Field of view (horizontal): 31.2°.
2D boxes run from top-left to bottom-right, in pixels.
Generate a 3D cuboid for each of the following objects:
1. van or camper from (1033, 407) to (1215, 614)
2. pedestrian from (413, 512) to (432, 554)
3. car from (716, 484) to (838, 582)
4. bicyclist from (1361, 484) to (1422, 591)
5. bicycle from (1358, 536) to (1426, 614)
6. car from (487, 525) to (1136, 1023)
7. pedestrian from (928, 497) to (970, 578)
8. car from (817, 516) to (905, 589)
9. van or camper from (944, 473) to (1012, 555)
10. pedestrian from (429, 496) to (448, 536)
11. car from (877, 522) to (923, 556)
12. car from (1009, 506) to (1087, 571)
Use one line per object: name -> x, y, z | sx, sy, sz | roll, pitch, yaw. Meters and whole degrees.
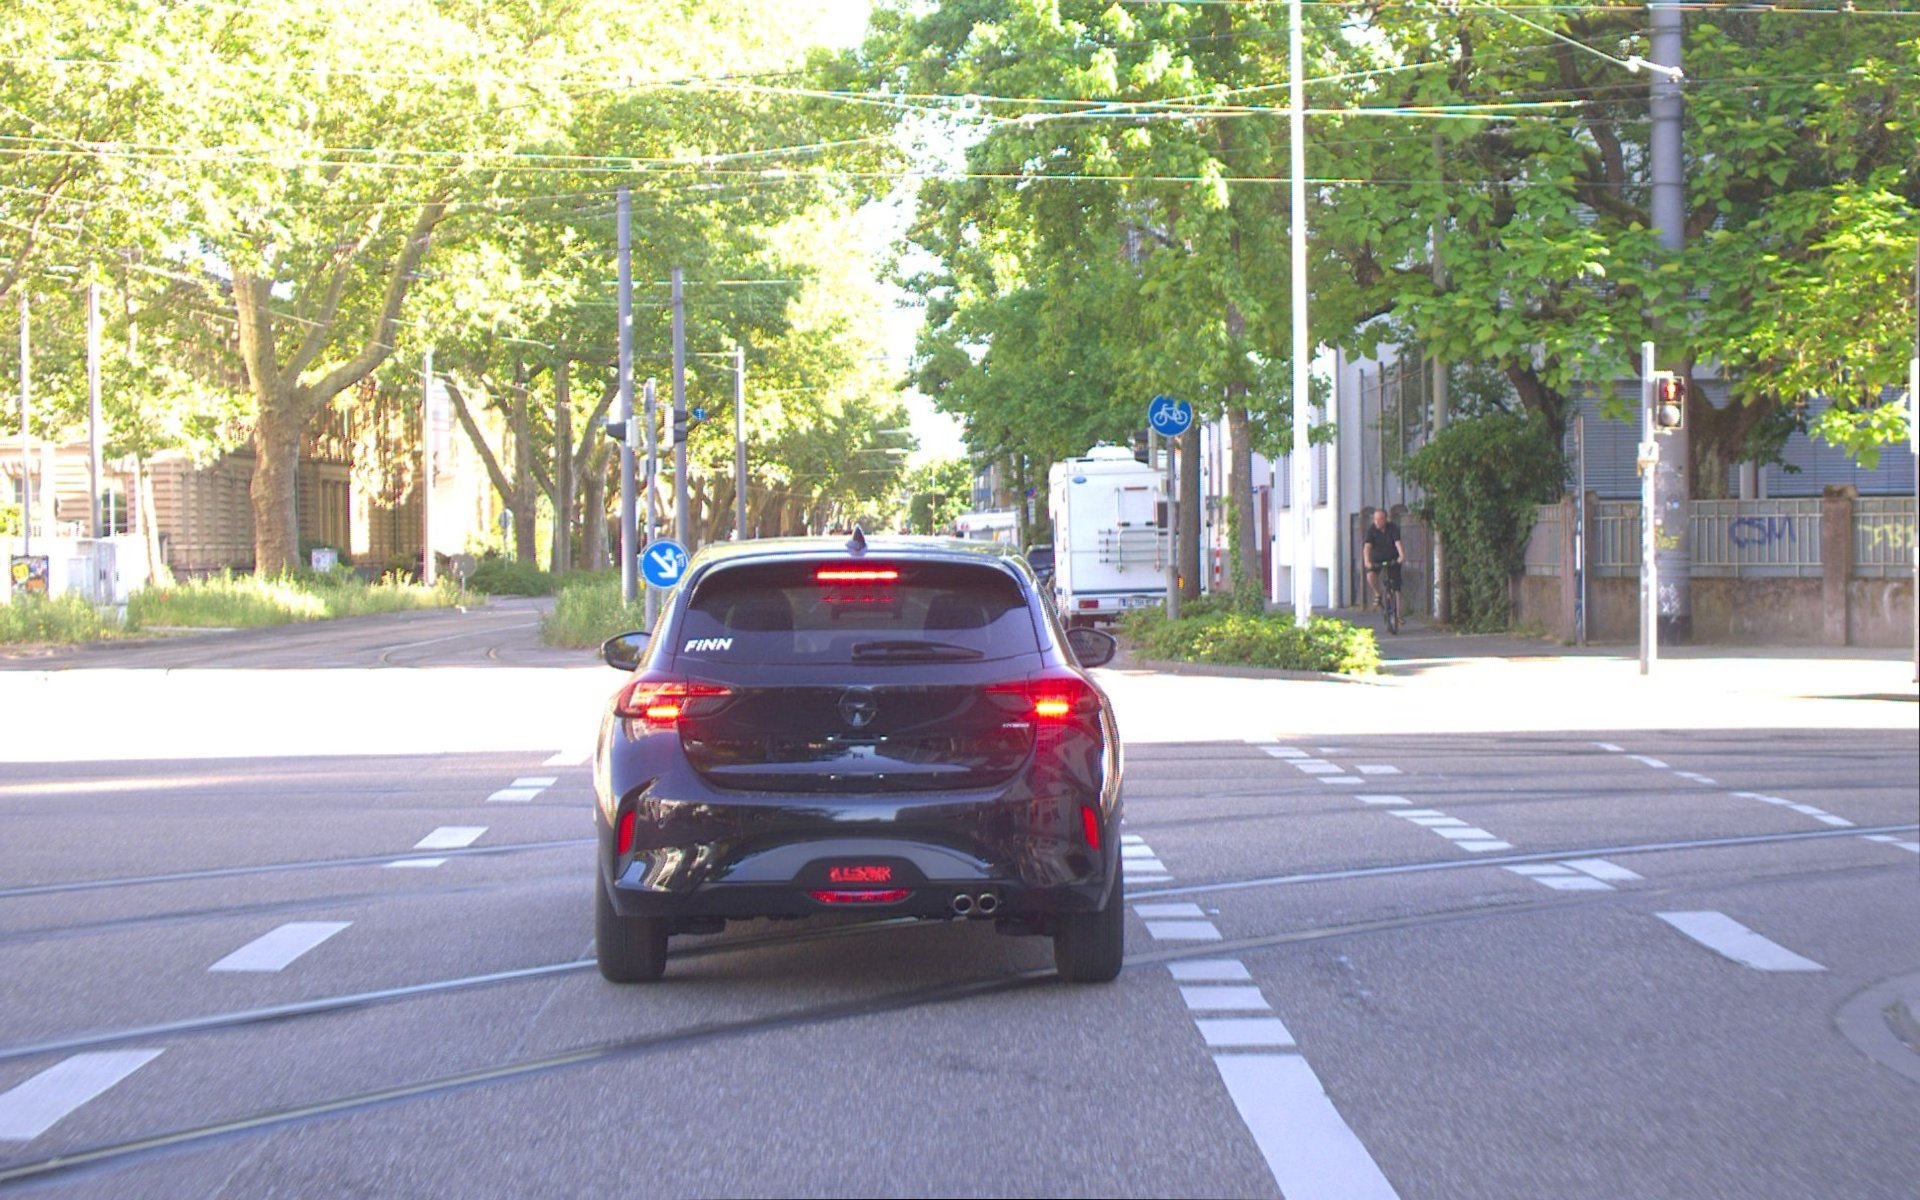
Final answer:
van or camper -> 2.646, -1.514, 57.595 | 2.375, 3.114, 7.552 | -3, 2, -1
pedestrian -> -22.071, -2.751, 141.193 | 0.618, 1.727, 0.596 | 2, 1, -1
car -> -3.258, -1.226, 61.837 | 1.993, 1.622, 4.471 | 2, 2, -1
bicyclist -> 6.145, -0.897, 48.974 | 0.749, 1.504, 0.701 | 0, 2, 17
bicycle -> 6.167, -0.366, 49.024 | 0.640, 1.066, 1.949 | 0, 2, 17
car -> -0.408, 0.467, 12.217 | 1.905, 1.420, 4.216 | 0, 2, 1
pedestrian -> -0.284, -1.564, 85.927 | 1.036, 2.017, 1.212 | 0, 1, -1
car -> -2.192, -1.089, 77.107 | 1.790, 1.505, 3.874 | -2, 2, 0
van or camper -> 0.707, -3.274, 131.169 | 2.486, 2.983, 5.434 | 2, 1, 1
pedestrian -> -21.408, -3.452, 141.172 | 0.658, 1.616, 0.615 | 2, 1, -1
car -> -2.626, -2.699, 150.778 | 1.905, 1.420, 4.216 | 0, 2, 1
car -> 2.136, -1.532, 84.567 | 1.790, 1.505, 3.874 | -2, 2, 0
